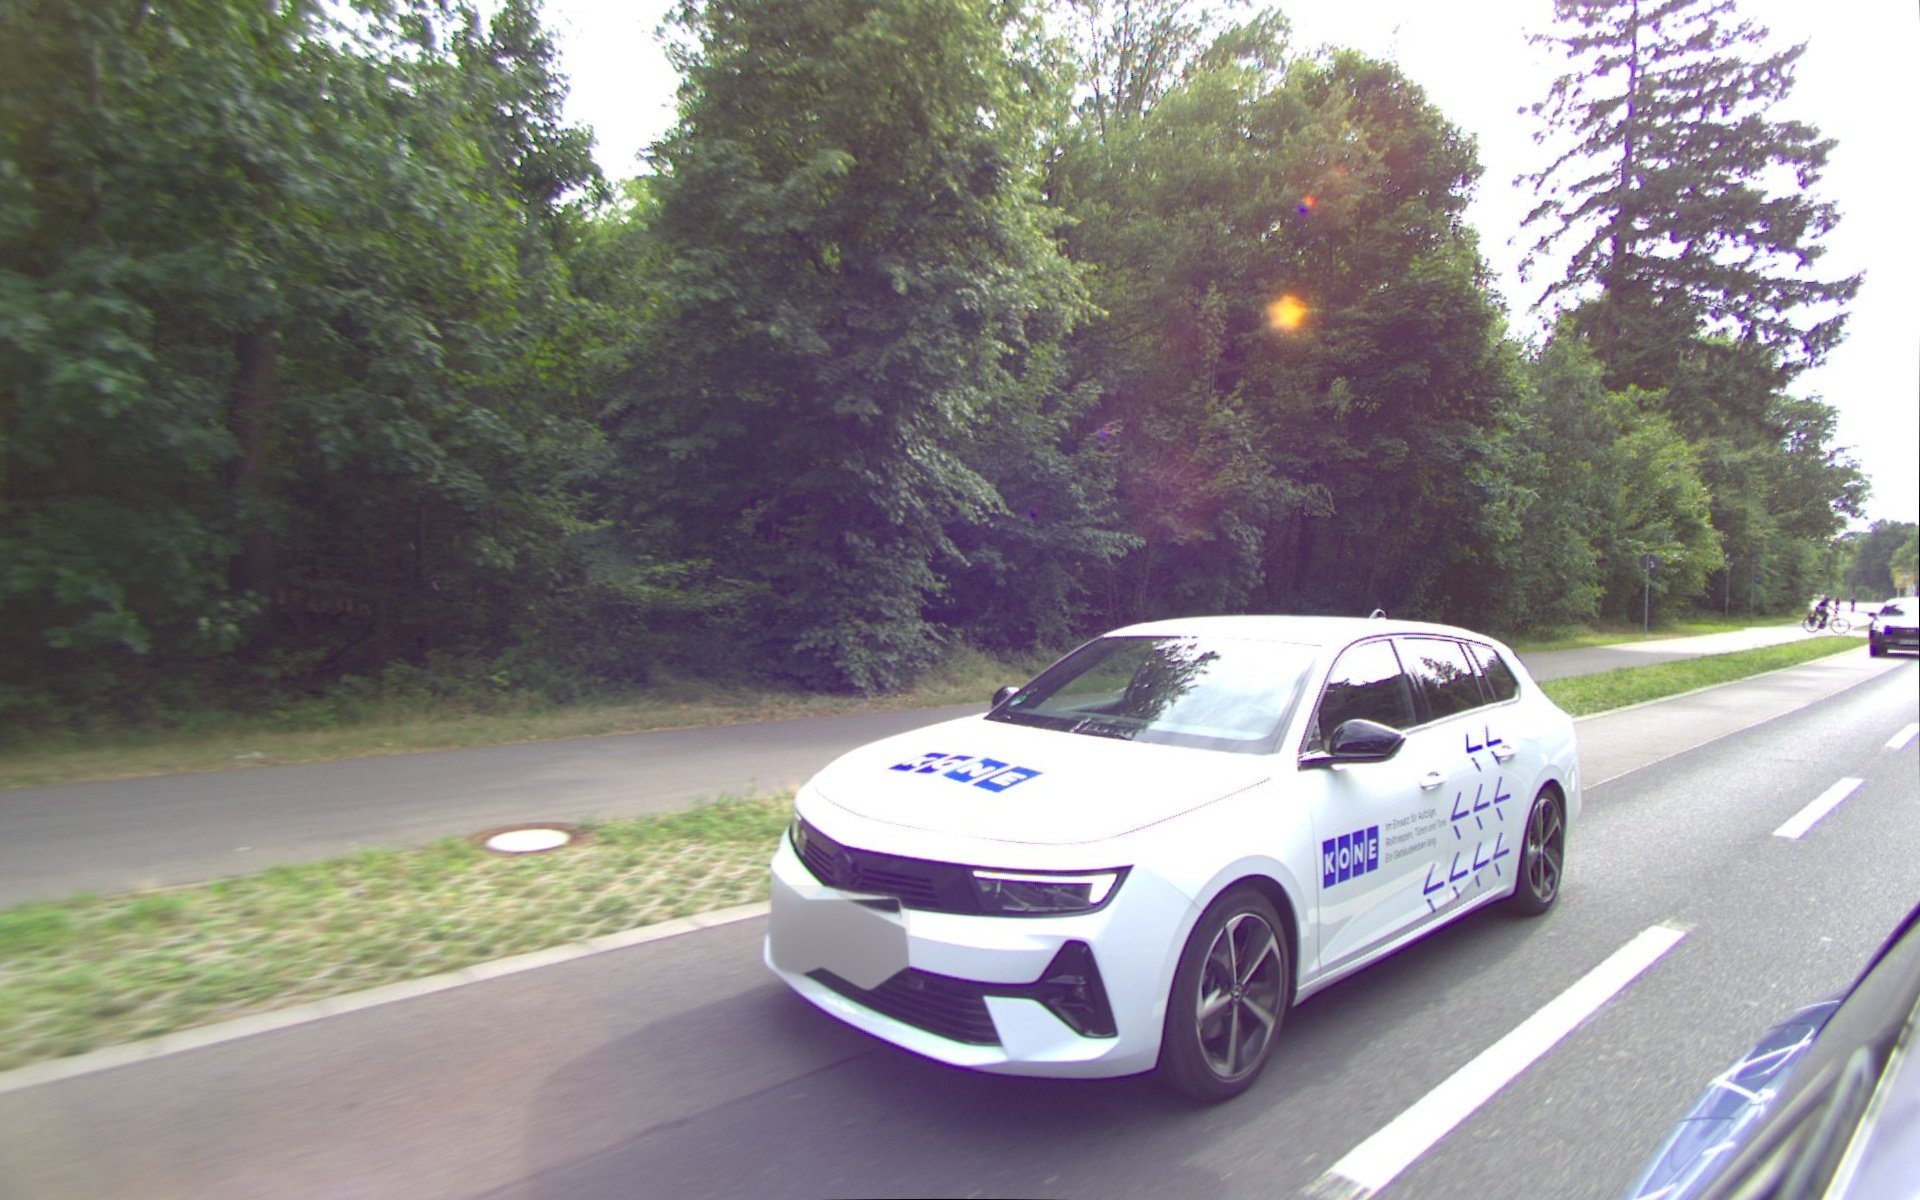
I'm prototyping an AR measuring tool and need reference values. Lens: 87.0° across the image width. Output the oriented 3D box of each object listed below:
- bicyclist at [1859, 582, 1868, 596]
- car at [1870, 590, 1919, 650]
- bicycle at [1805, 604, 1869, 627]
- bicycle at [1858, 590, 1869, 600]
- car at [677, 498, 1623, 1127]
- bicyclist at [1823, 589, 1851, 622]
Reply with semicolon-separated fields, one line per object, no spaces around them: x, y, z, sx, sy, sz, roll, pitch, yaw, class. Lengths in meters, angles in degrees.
90.907;-1.119;101.833;0.518;1.433;1.172;1;1;34;bicyclist
27.747;0.541;29.151;3.934;1.594;1.995;-1;0;-44;car
40.520;0.704;46.773;0.699;1.006;2.178;0;1;-41;bicycle
90.897;-0.490;101.818;0.564;0.923;1.733;4;3;34;bicycle
1.210;0.551;4.493;4.413;1.428;1.838;2;-3;-42;car
40.537;0.248;46.775;0.699;1.489;0.900;0;1;-42;bicyclist
